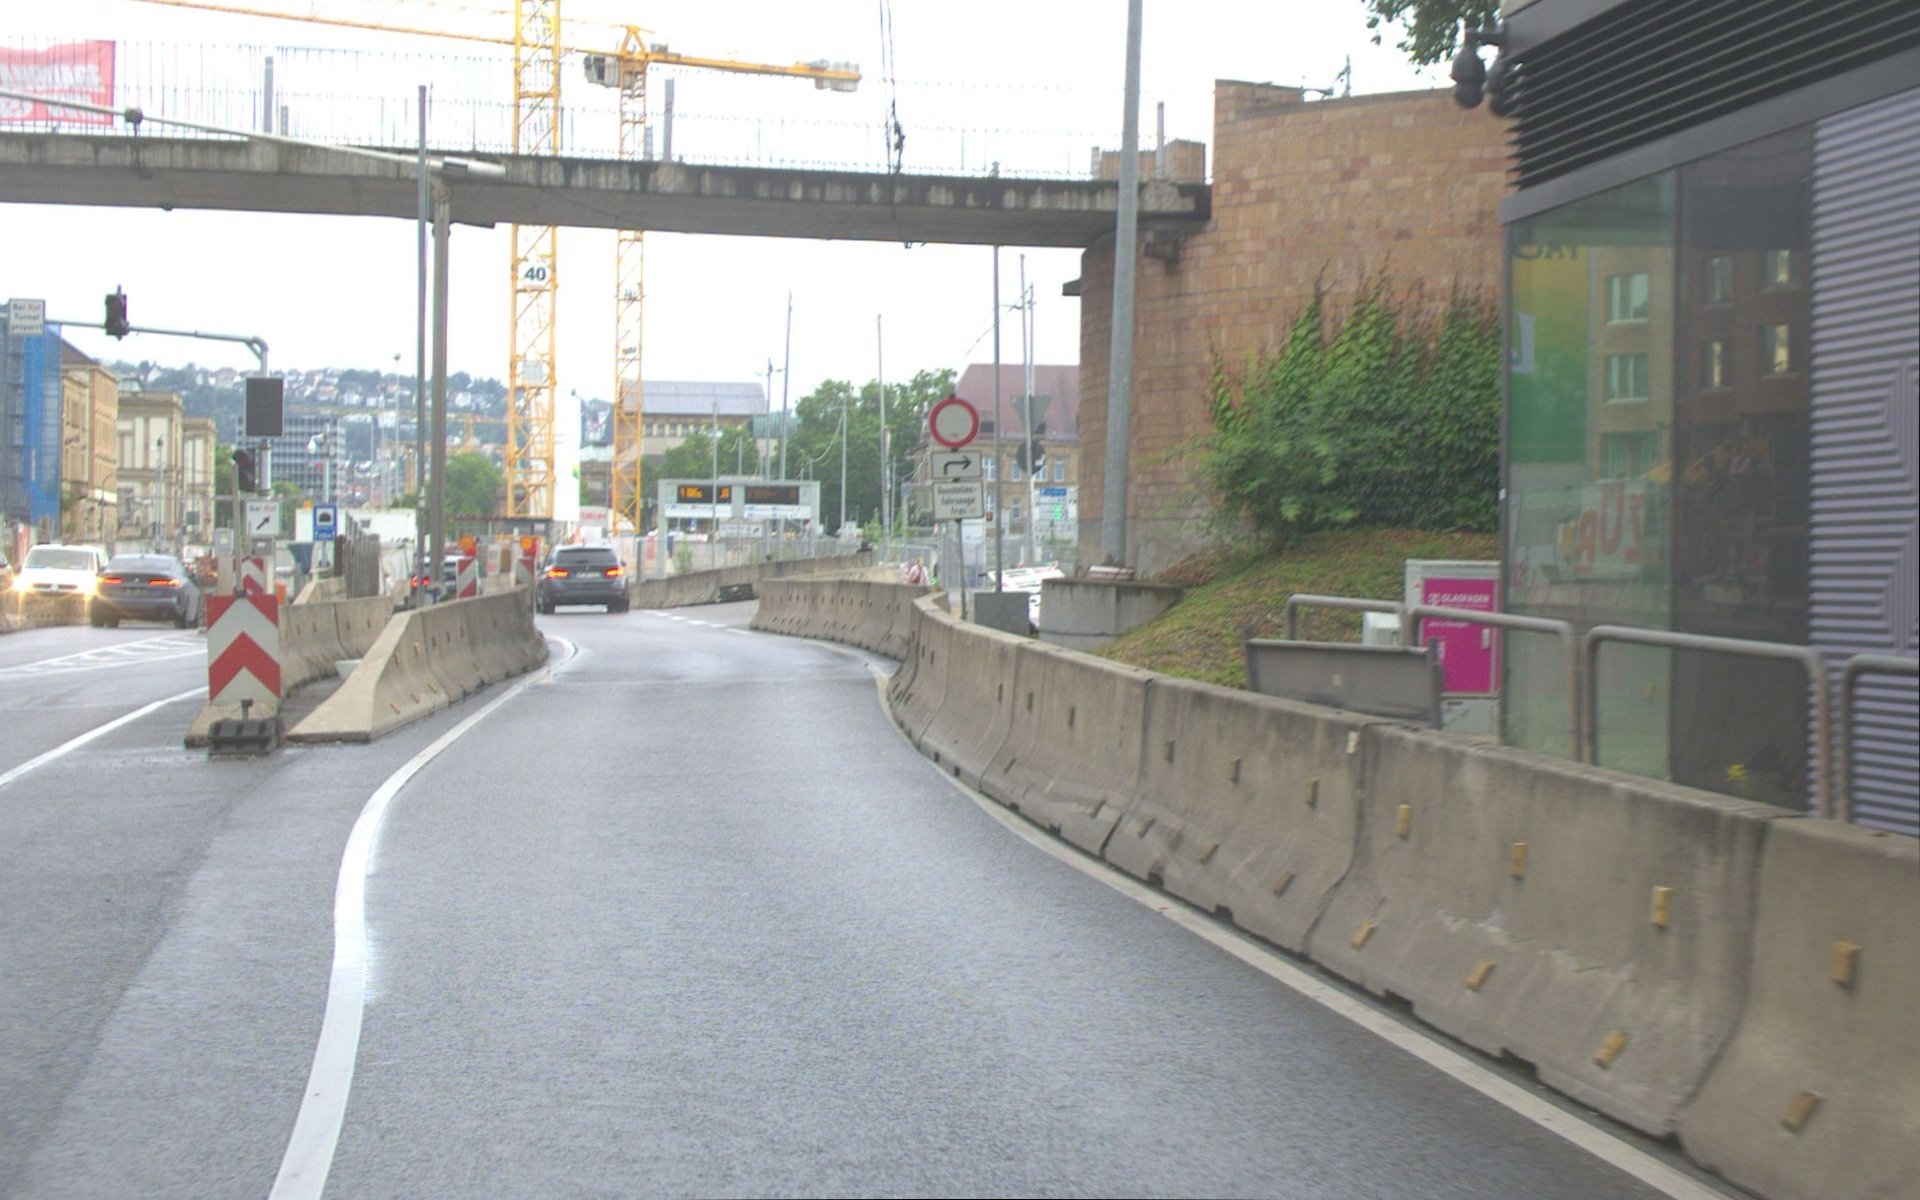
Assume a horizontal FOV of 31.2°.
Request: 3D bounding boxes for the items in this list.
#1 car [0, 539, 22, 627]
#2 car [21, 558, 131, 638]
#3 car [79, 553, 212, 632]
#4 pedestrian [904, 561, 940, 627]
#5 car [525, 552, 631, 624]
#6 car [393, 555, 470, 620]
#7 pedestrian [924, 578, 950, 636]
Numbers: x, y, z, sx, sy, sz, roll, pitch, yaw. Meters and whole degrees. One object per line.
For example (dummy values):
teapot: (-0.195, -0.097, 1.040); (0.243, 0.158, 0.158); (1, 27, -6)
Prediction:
car: (-18.977, -0.310, 64.841); (1.805, 1.617, 3.904); (1, 2, -5)
car: (-21.478, -0.072, 83.691); (1.805, 1.815, 5.302); (1, 1, -6)
car: (-15.729, -0.162, 66.599); (1.862, 1.438, 4.657); (1, 1, -5)
pedestrian: (-1.028, -0.157, 92.434); (0.689, 1.772, 0.815); (0, -1, -26)
car: (-8.096, -0.282, 72.485); (1.862, 1.428, 4.657); (1, 1, -10)
car: (-13.999, -0.355, 91.229); (1.862, 1.655, 4.657); (1, 1, -7)
pedestrian: (-0.705, 0.220, 104.514); (0.689, 1.772, 1.023); (0, -1, -7)
